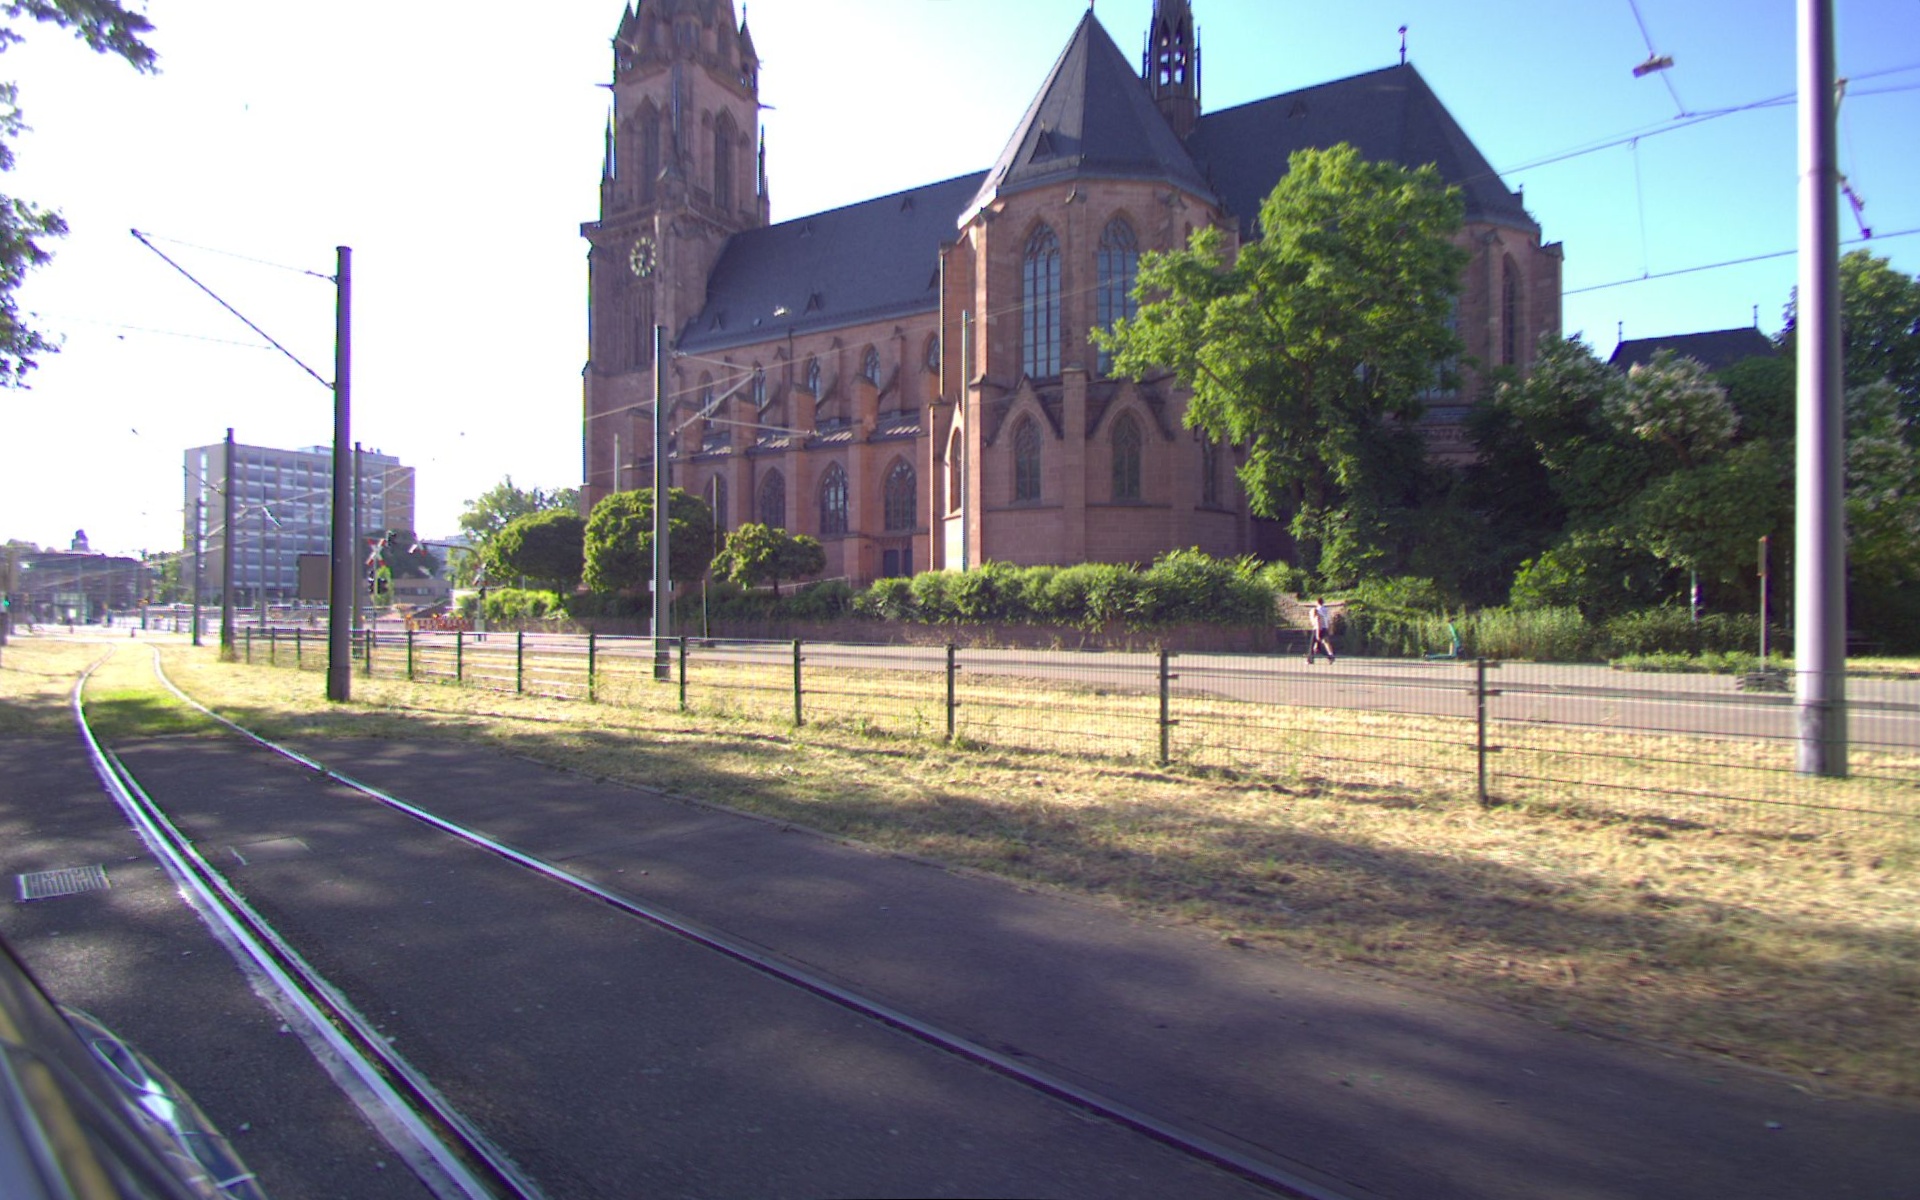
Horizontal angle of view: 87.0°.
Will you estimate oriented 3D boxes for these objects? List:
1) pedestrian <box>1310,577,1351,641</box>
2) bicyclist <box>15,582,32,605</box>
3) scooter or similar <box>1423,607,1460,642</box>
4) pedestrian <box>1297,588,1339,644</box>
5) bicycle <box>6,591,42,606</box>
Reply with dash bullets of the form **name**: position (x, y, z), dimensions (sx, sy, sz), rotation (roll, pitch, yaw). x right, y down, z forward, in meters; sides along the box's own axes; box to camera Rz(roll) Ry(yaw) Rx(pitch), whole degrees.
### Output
- **pedestrian**: position (10.573, 0.249, 28.856), dimensions (0.946, 1.797, 0.580), rotation (0, 3, 39)
- **bicyclist**: position (-75.761, -0.522, 81.876), dimensions (0.763, 1.885, 0.612), rotation (-3, 2, -30)
- **scooter or similar**: position (13.414, 0.679, 28.212), dimensions (0.914, 0.943, 0.306), rotation (-1, 2, 21)
- **pedestrian**: position (9.956, 0.439, 28.149), dimensions (0.946, 1.500, 0.580), rotation (0, 3, 39)
- **bicycle**: position (-75.745, -0.116, 81.904), dimensions (2.032, 1.091, 0.612), rotation (-3, 2, -30)
